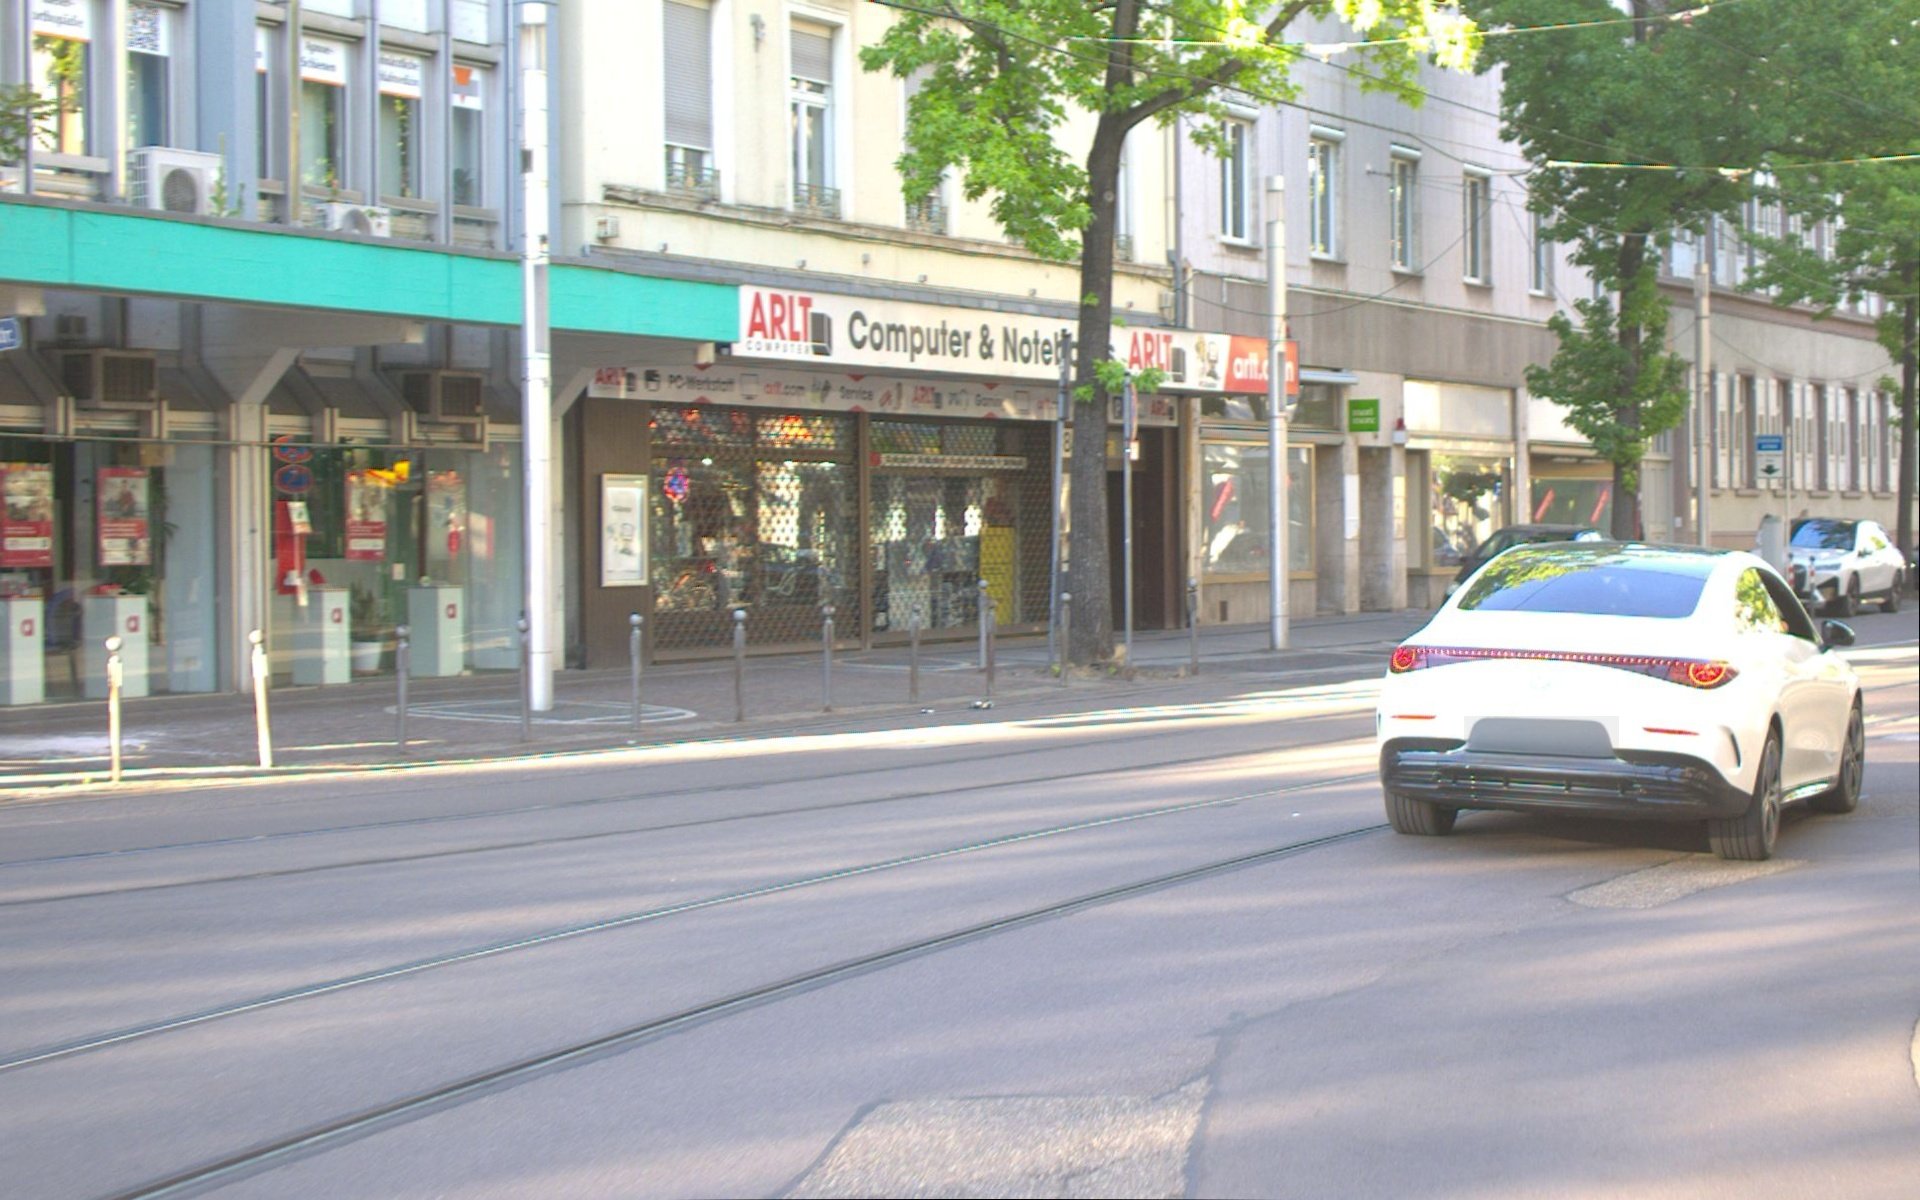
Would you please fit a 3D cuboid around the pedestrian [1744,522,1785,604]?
[{"bbox_3d":[16.620,-0.768,70.996,0.675,1.674,0.646,0,1,29],"label":"pedestrian"}]

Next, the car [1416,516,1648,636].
[{"bbox_3d":[8.166,-0.373,48.802,1.965,1.634,3.993,1,1,30],"label":"car"}]

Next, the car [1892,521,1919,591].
[{"bbox_3d":[20.820,-0.923,71.312,1.964,1.408,4.840,1,1,26],"label":"car"}]

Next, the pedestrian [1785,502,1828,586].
[{"bbox_3d":[17.390,-1.160,70.664,0.687,1.715,0.655,1,2,29],"label":"pedestrian"}]

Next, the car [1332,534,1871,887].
[{"bbox_3d":[3.357,0.444,17.362,1.870,1.464,4.038,3,2,22],"label":"car"}]

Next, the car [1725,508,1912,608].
[{"bbox_3d":[15.386,-0.772,61.437,1.965,1.634,4.804,4,3,29],"label":"car"}]
